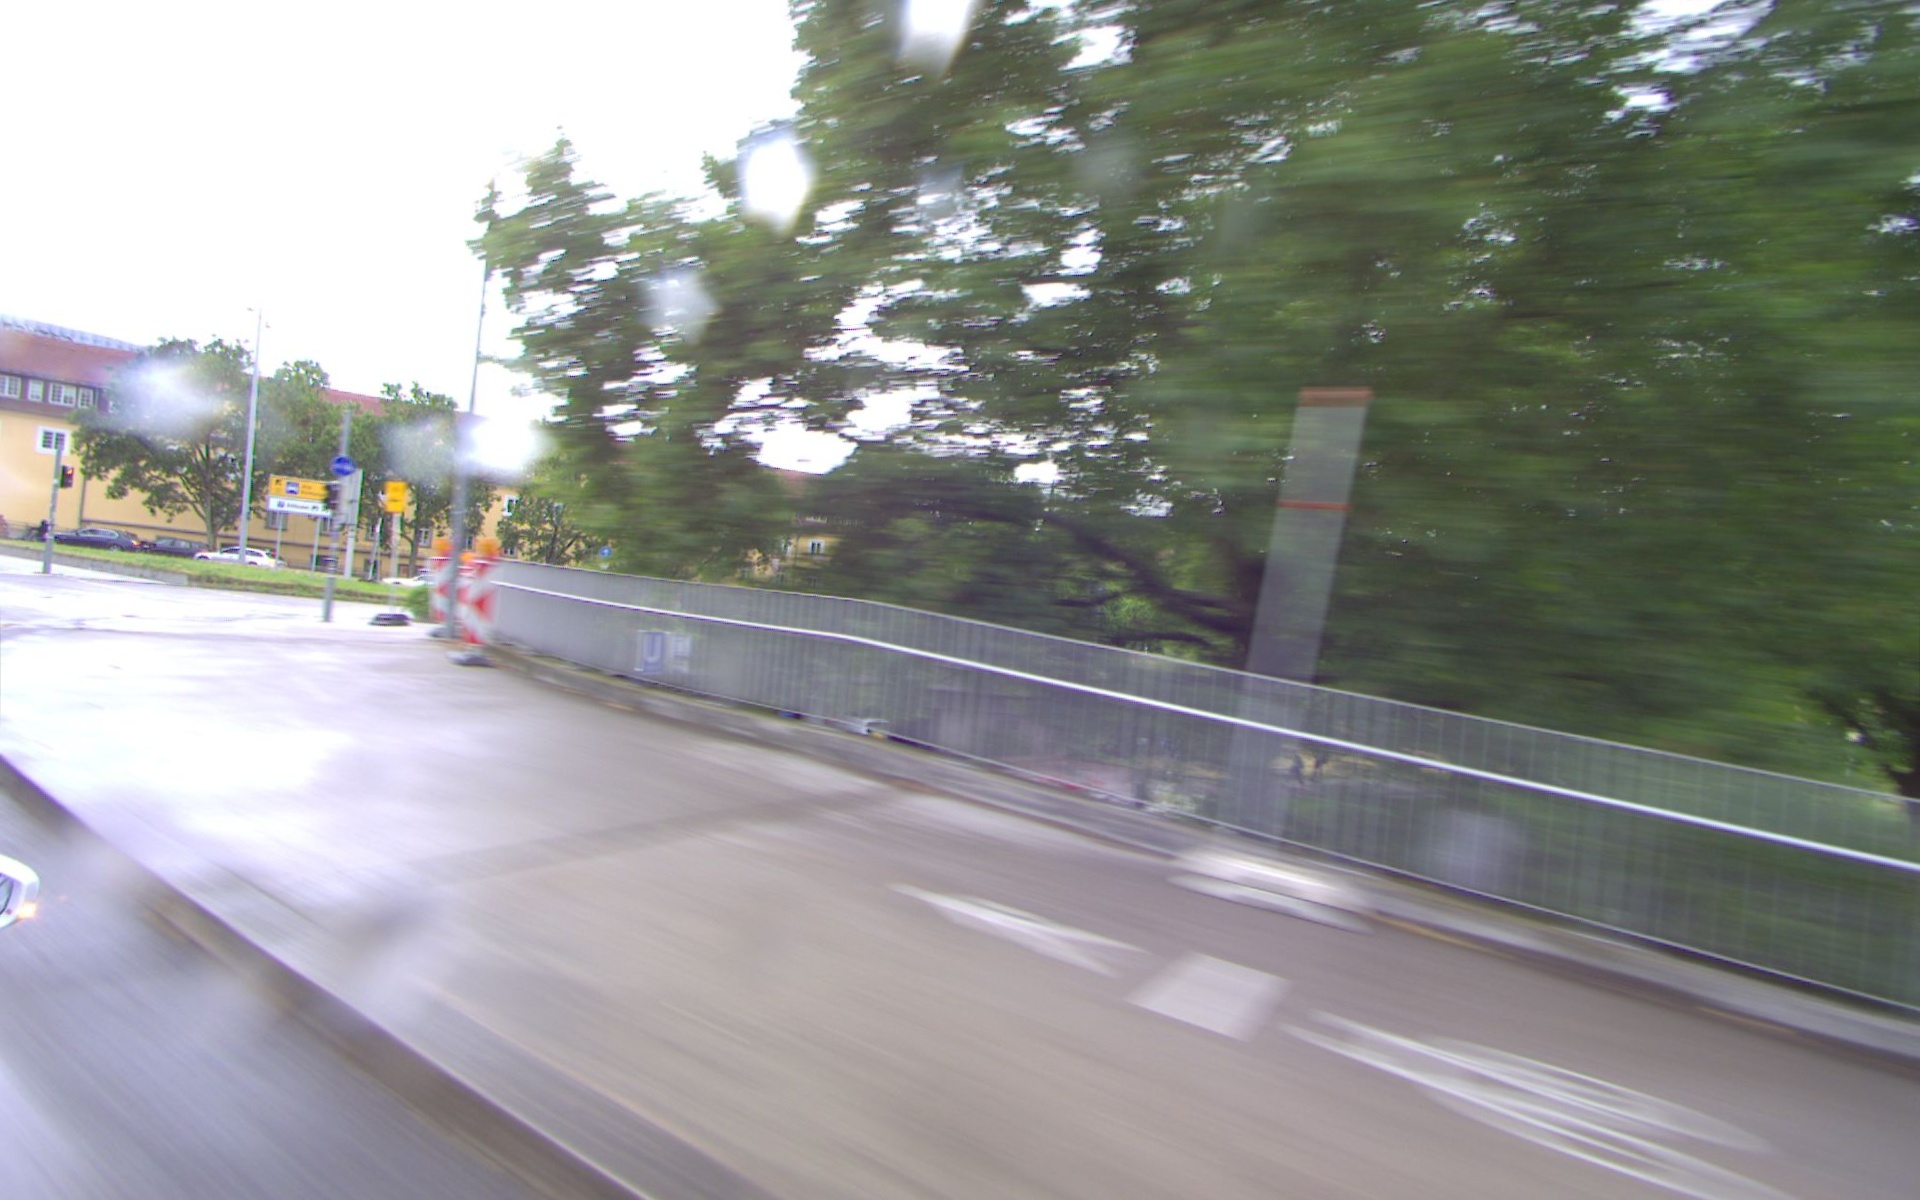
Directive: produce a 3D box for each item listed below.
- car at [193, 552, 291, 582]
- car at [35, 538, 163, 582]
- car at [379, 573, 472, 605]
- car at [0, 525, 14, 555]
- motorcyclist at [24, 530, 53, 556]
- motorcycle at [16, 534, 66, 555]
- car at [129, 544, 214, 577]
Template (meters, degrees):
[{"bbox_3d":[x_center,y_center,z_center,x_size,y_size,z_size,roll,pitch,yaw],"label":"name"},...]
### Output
[{"bbox_3d":[-40.953,-1.898,57.450,4.298,1.152,1.544,5,-4,-3],"label":"car"},{"bbox_3d":[-47.204,-2.170,55.280,4.745,1.727,1.996,6,-4,-17],"label":"car"},{"bbox_3d":[-34.876,-0.699,65.755,5.241,1.376,1.549,7,-4,-27],"label":"car"},{"bbox_3d":[-52.454,-3.384,53.074,3.381,1.488,1.639,8,-5,-36],"label":"car"},{"bbox_3d":[-51.893,-3.181,56.654,1.070,1.287,0.685,8,-4,-39],"label":"motorcyclist"},{"bbox_3d":[-51.822,-3.104,56.765,1.954,0.862,0.541,8,-5,-38],"label":"motorcycle"},{"bbox_3d":[-46.364,-2.306,59.239,3.560,1.351,1.571,7,-4,-24],"label":"car"}]
